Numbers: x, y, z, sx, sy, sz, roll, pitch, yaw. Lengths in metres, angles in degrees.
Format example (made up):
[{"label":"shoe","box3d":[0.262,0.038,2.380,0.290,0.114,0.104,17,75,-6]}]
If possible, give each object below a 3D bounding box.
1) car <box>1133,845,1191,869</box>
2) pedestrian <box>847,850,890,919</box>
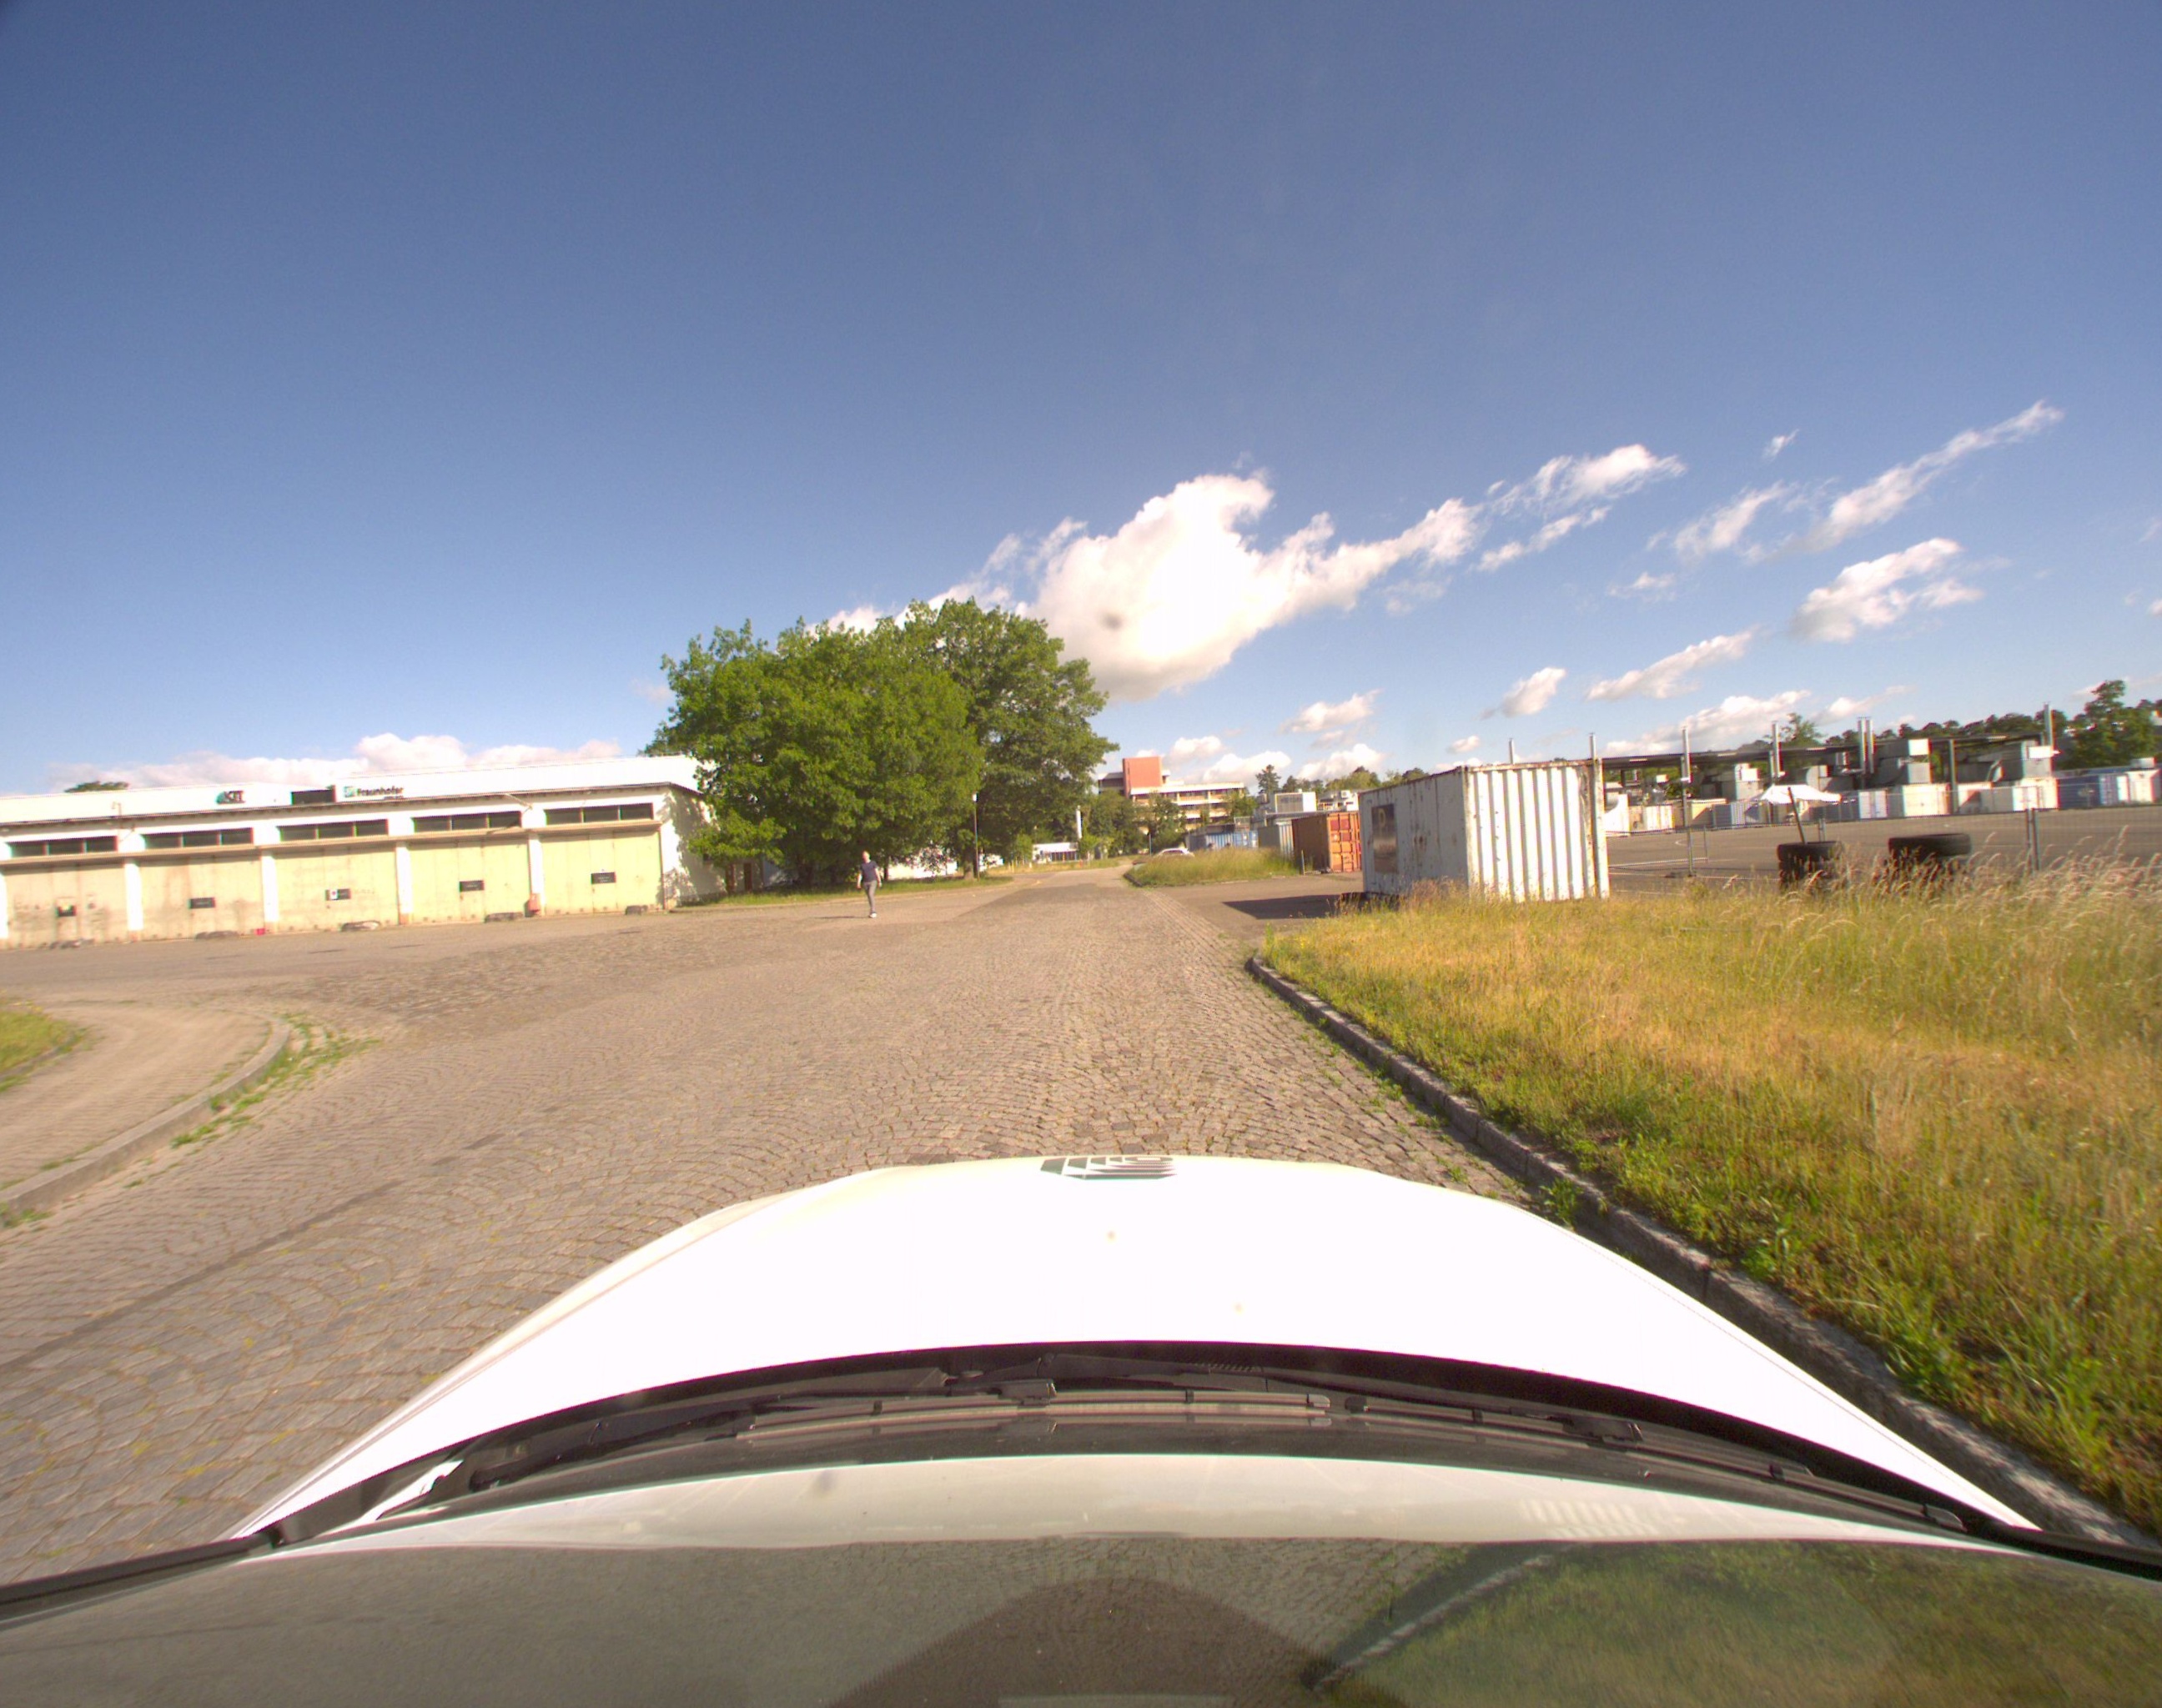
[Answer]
[{"label":"car","box3d":[6.746,0.257,68.214,4.573,1.677,1.875,-4,0,0]},{"label":"pedestrian","box3d":[-6.190,0.866,23.794,0.794,1.914,1.143,-4,0,1]}]
